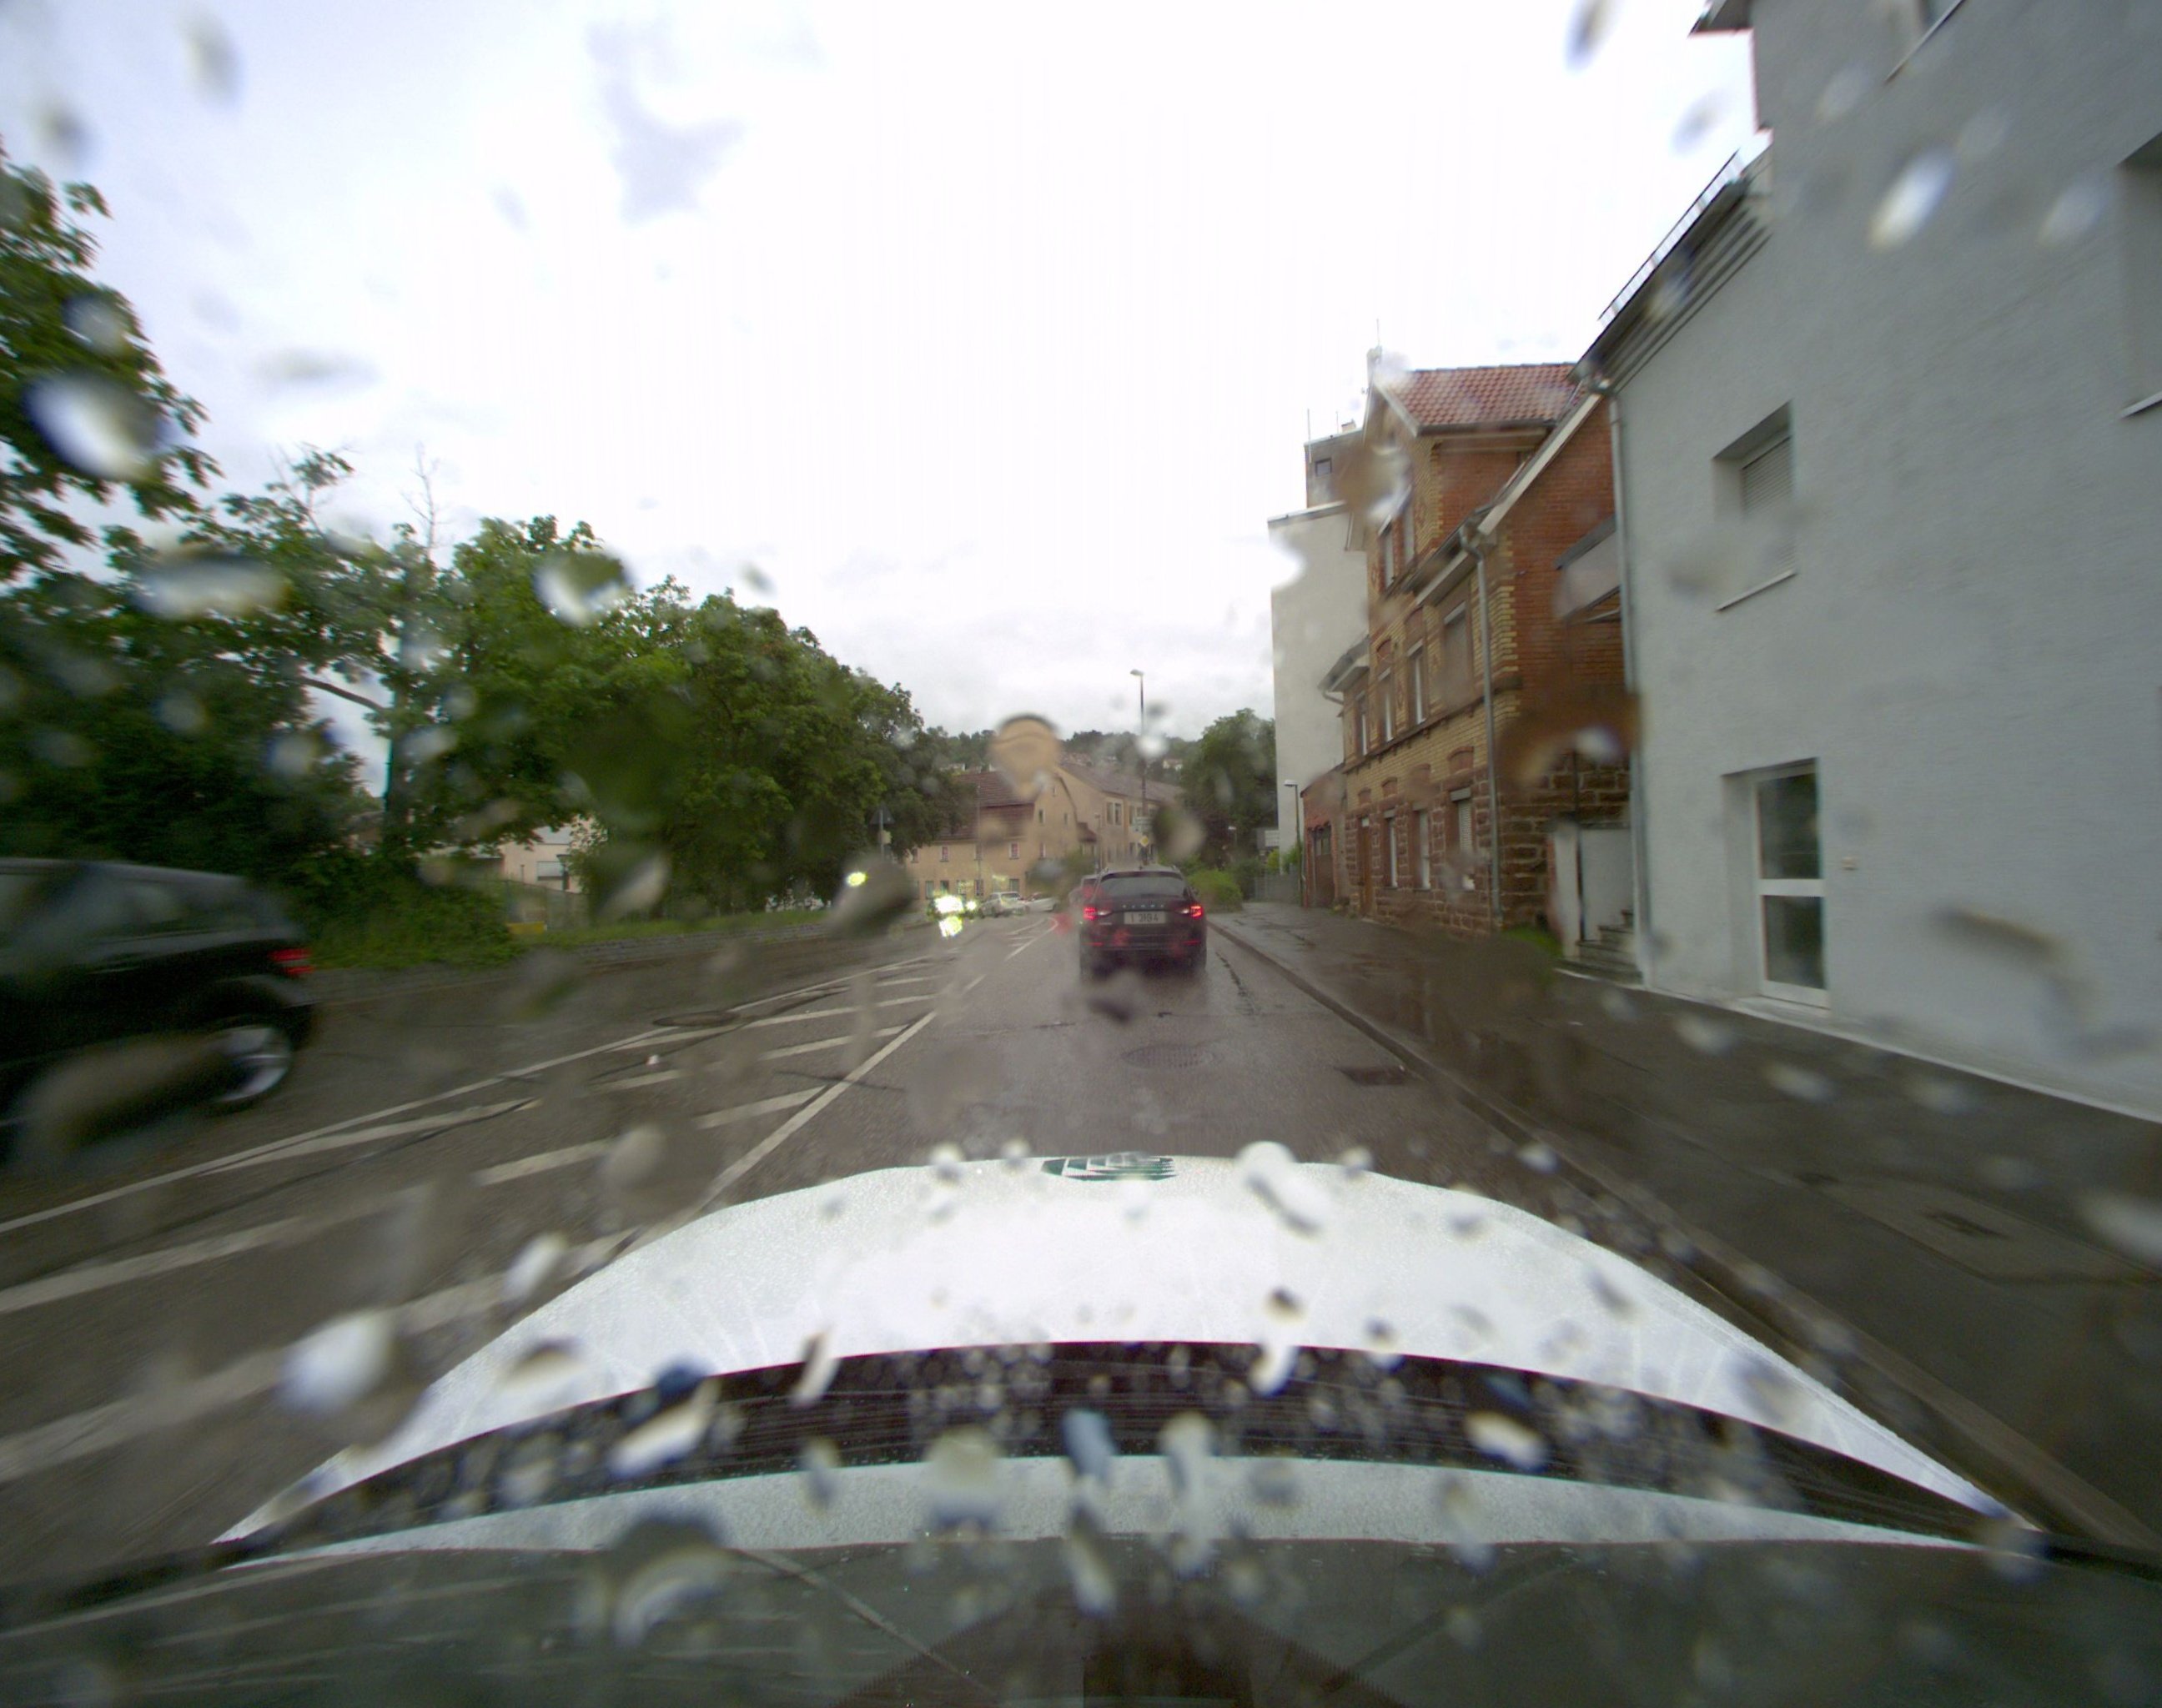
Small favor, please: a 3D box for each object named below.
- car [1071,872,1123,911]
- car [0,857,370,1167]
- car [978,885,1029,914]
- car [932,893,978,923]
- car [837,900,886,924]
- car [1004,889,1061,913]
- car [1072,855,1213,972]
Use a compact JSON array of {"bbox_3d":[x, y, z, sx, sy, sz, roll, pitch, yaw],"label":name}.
[{"bbox_3d":[0.559,1.420,31.179,1.813,1.360,3.987,-2,-2,-1],"label":"car"},{"bbox_3d":[-6.157,0.785,3.860,1.631,1.521,4.081,-1,-1,9],"label":"car"},{"bbox_3d":[-4.549,2.652,47.213,1.735,1.591,4.151,2,-4,-23],"label":"car"},{"bbox_3d":[-6.566,2.753,42.115,1.740,1.411,4.029,-1,-3,-18],"label":"car"},{"bbox_3d":[-15.753,4.189,58.232,1.738,1.505,4.207,-1,-4,-40],"label":"car"},{"bbox_3d":[-3.585,3.451,59.709,3.768,1.453,1.698,-3,-3,-24],"label":"car"},{"bbox_3d":[0.789,0.846,12.840,1.777,1.483,4.242,-2,-2,-1],"label":"car"}]
